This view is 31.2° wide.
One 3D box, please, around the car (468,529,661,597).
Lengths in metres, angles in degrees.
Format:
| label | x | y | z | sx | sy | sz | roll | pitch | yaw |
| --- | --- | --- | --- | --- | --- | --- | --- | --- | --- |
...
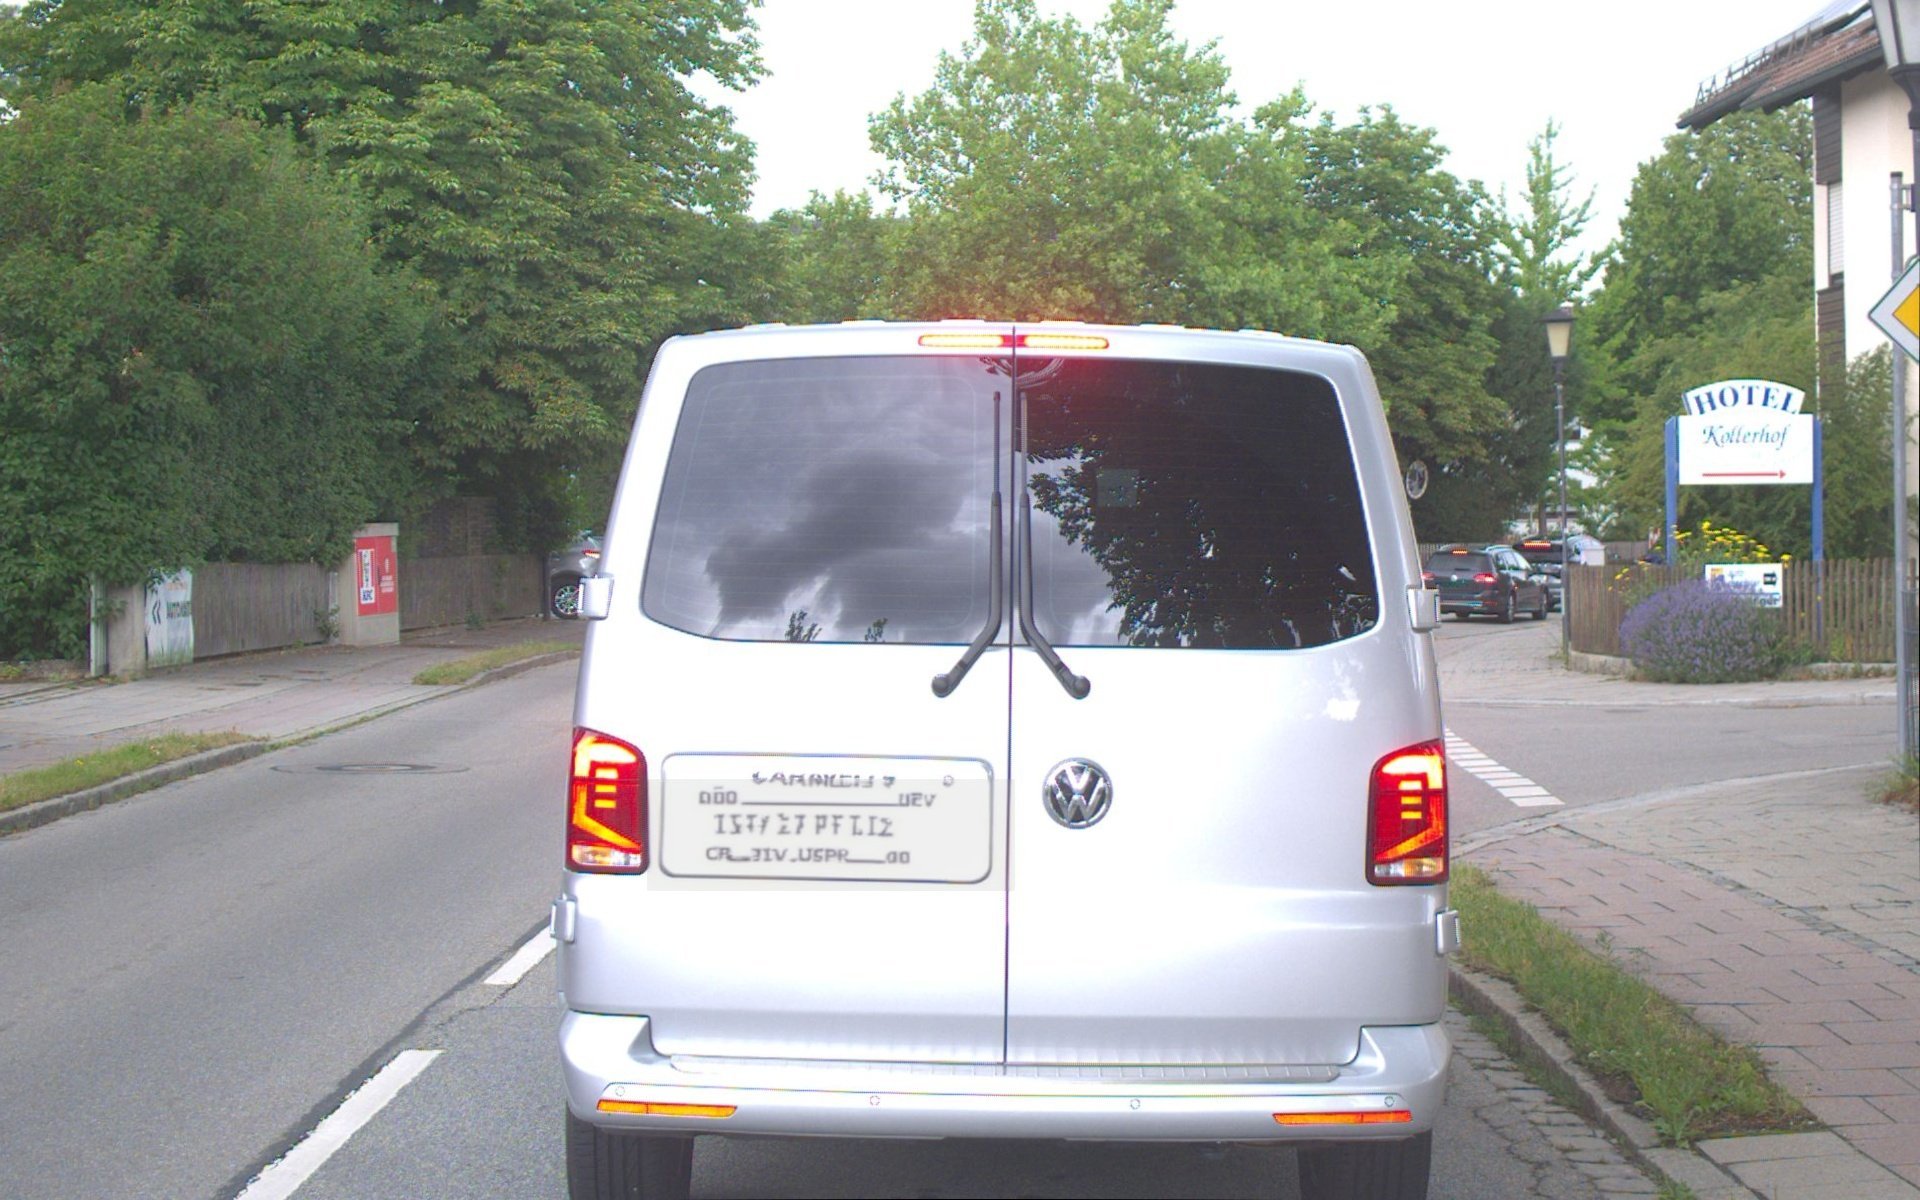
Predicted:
| label | x | y | z | sx | sy | sz | roll | pitch | yaw |
| --- | --- | --- | --- | --- | --- | --- | --- | --- | --- |
| car | -7.951 | -0.756 | 69.002 | 3.749 | 1.341 | 1.584 | 0 | 1 | -10 |

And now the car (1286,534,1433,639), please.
| label | x | y | z | sx | sy | sz | roll | pitch | yaw |
| --- | --- | --- | --- | --- | --- | --- | --- | --- | --- |
| car | 6.117 | -0.237 | 52.331 | 1.882 | 1.530 | 3.919 | 0 | 1 | 12 |

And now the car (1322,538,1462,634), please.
| label | x | y | z | sx | sy | sz | roll | pitch | yaw |
| --- | --- | --- | --- | --- | --- | --- | --- | --- | --- |
| car | 7.214 | -0.261 | 57.146 | 1.882 | 1.530 | 3.918 | 0 | 1 | 13 |

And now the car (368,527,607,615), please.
| label | x | y | z | sx | sy | sz | roll | pitch | yaw |
| --- | --- | --- | --- | --- | --- | --- | --- | --- | --- |
| car | -8.096 | -0.508 | 58.920 | 3.986 | 1.481 | 2.001 | 0 | 1 | -8 |

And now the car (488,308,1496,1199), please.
| label | x | y | z | sx | sy | sz | roll | pitch | yaw |
| --- | --- | --- | --- | --- | --- | --- | --- | --- | --- |
| car | 0.070 | 0.390 | 8.423 | 1.881 | 1.934 | 3.921 | 0 | 1 | 0 |

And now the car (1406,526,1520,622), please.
| label | x | y | z | sx | sy | sz | roll | pitch | yaw |
| --- | --- | --- | --- | --- | --- | --- | --- | --- | --- |
| car | 9.667 | -0.526 | 65.879 | 1.882 | 1.742 | 4.078 | -1 | 1 | 12 |

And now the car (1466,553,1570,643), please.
| label | x | y | z | sx | sy | sz | roll | pitch | yaw |
| --- | --- | --- | --- | --- | --- | --- | --- | --- | --- |
| car | 11.814 | -0.065 | 72.623 | 1.882 | 1.819 | 3.918 | 0 | 1 | 13 |
